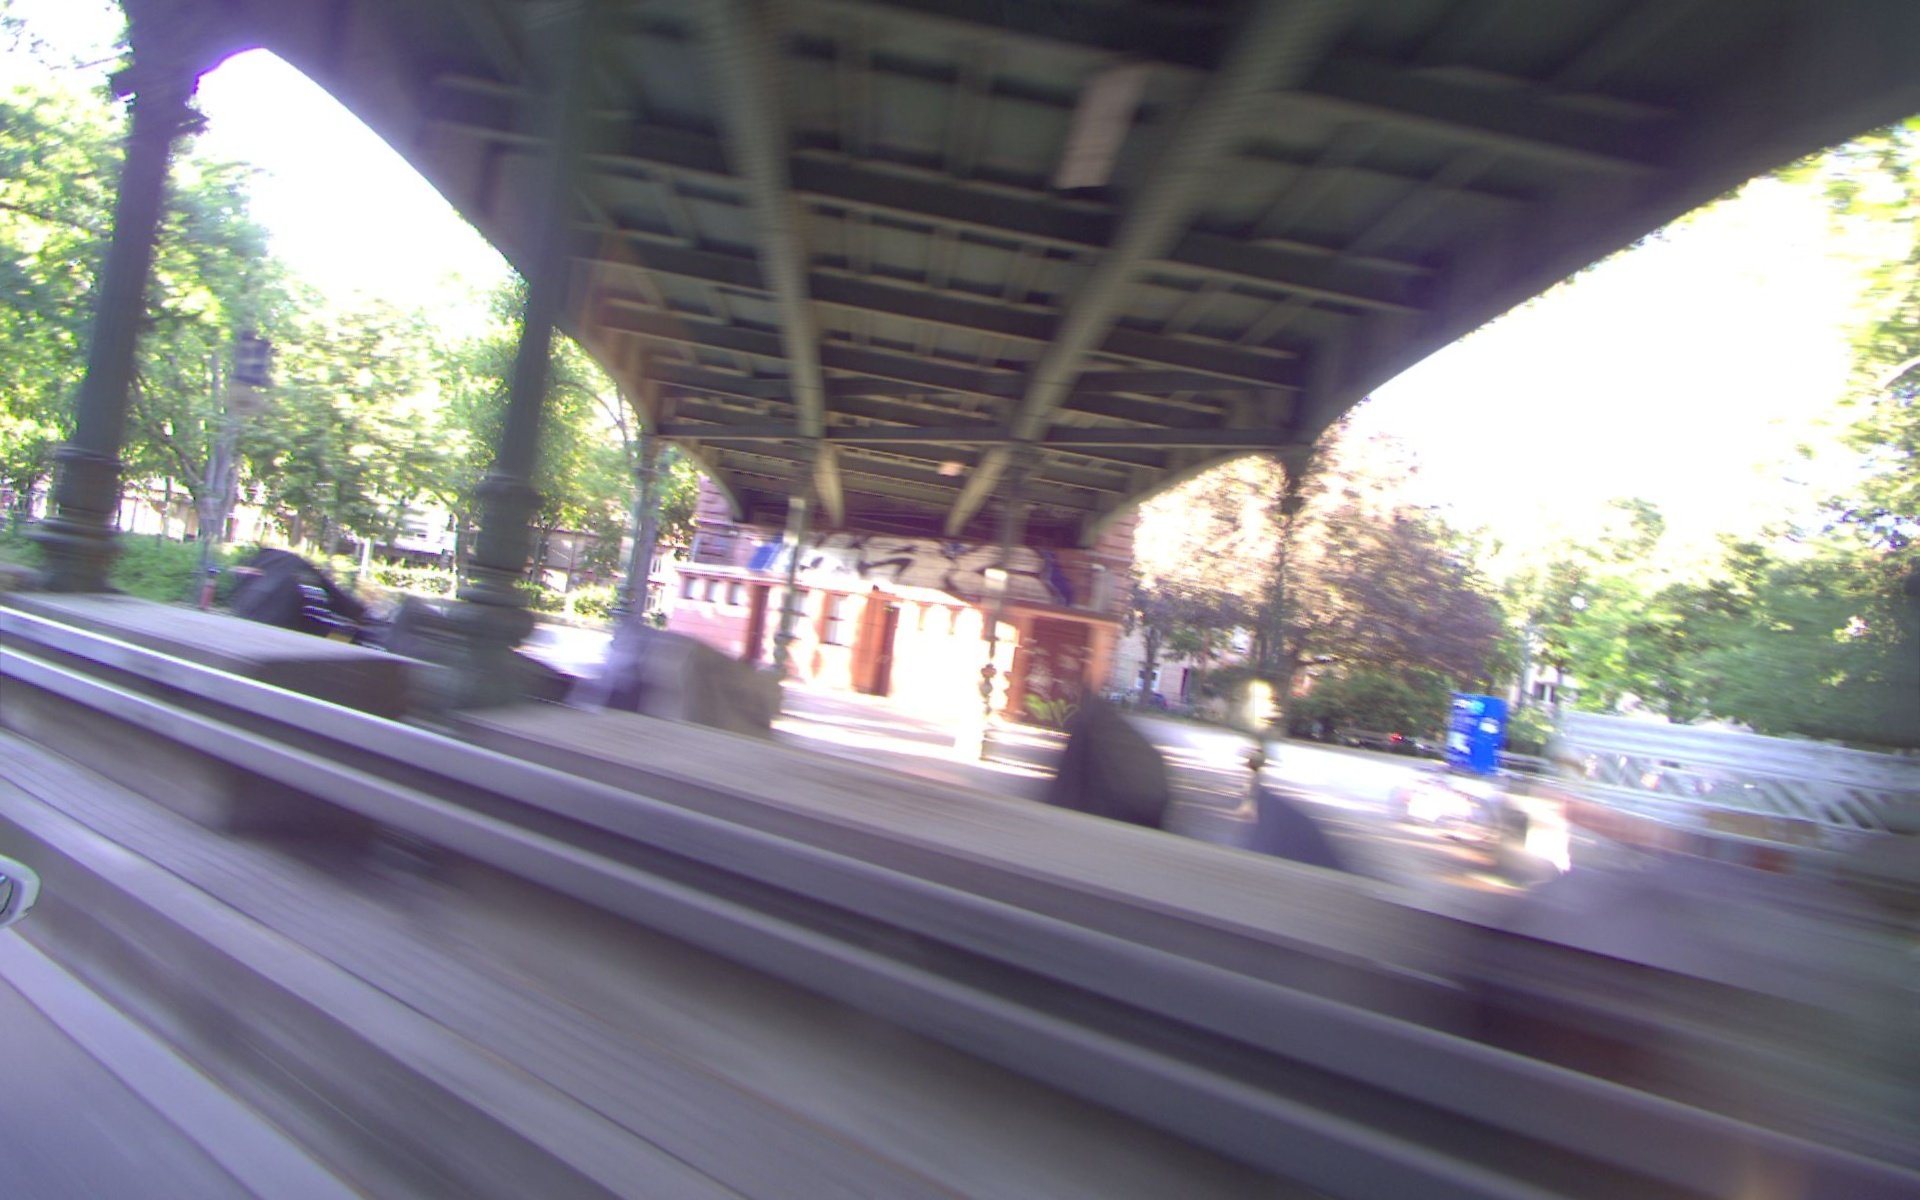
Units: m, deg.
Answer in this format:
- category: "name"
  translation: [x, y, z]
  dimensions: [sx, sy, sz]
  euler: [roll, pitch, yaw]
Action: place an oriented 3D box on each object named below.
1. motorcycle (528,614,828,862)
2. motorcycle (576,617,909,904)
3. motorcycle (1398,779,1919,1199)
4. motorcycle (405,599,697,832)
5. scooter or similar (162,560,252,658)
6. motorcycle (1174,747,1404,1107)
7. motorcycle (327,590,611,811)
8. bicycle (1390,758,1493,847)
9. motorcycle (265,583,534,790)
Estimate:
- category: "motorcycle"
  translation: [-1.809, 0.923, 6.612]
  dimensions: [1.595, 1.422, 0.705]
  euler: [11, -5, -40]
- category: "motorcycle"
  translation: [-1.216, 0.932, 5.847]
  dimensions: [1.595, 1.422, 0.705]
  euler: [11, -5, -40]
- category: "motorcycle"
  translation: [2.367, 1.347, 3.650]
  dimensions: [0.834, 1.144, 1.842]
  euler: [7, -5, 7]
- category: "motorcycle"
  translation: [-2.816, 0.828, 7.026]
  dimensions: [1.595, 1.422, 0.705]
  euler: [11, -5, -40]
- category: "scooter or similar"
  translation: [-11.085, 0.122, 14.804]
  dimensions: [1.304, 1.311, 0.478]
  euler: [4, -5, 33]
- category: "motorcycle"
  translation: [1.386, 1.292, 4.468]
  dimensions: [0.699, 1.144, 1.609]
  euler: [6, -5, 14]
- category: "motorcycle"
  translation: [-3.577, 0.763, 7.414]
  dimensions: [1.595, 1.422, 0.705]
  euler: [11, -5, -40]
- category: "bicycle"
  translation: [6.519, 2.721, 13.699]
  dimensions: [0.514, 0.868, 1.615]
  euler: [7, -1, -1]
- category: "motorcycle"
  translation: [-4.403, 0.704, 7.971]
  dimensions: [1.595, 1.422, 0.705]
  euler: [11, -5, -40]
